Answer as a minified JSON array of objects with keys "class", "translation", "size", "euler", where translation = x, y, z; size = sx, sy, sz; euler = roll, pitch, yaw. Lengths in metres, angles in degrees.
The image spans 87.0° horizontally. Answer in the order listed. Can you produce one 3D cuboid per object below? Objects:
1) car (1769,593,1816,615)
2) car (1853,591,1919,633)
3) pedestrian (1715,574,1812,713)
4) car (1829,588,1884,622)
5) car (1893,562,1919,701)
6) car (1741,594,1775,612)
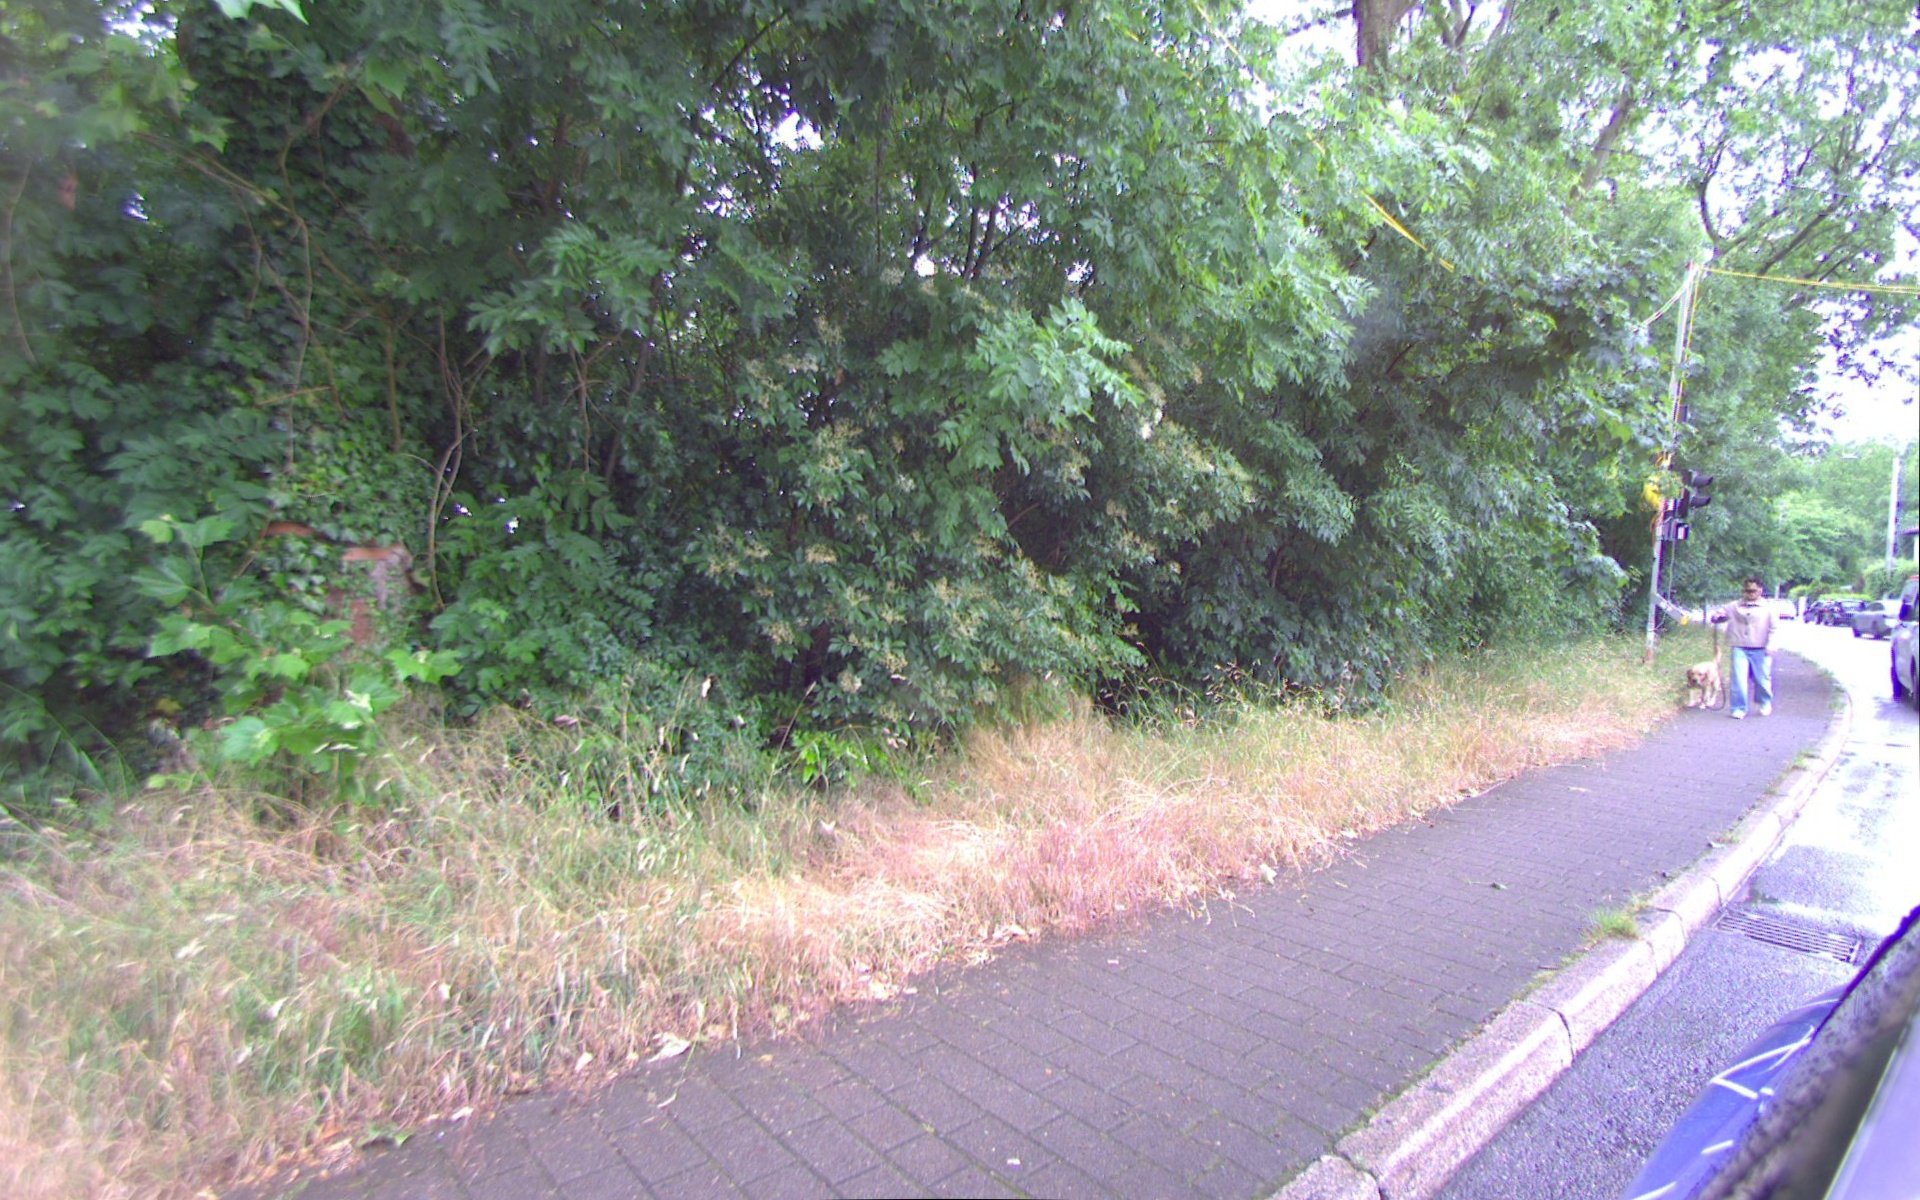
[{"class":"car","translation":[60.756,0.288,73.924],"size":[2.055,1.504,4.509],"euler":[1,1,33]},{"class":"car","translation":[36.914,0.447,39.838],"size":[1.845,1.547,4.764],"euler":[0,0,32]},{"class":"pedestrian","translation":[9.197,0.469,11.587],"size":[0.771,1.518,0.734],"euler":[0,1,-42]},{"class":"car","translation":[51.069,0.274,57.712],"size":[1.869,1.848,4.075],"euler":[1,1,35]},{"class":"car","translation":[15.057,0.444,14.526],"size":[2.093,1.943,5.019],"euler":[1,0,39]},{"class":"car","translation":[64.950,0.209,82.377],"size":[1.676,1.445,3.734],"euler":[1,1,31]}]
